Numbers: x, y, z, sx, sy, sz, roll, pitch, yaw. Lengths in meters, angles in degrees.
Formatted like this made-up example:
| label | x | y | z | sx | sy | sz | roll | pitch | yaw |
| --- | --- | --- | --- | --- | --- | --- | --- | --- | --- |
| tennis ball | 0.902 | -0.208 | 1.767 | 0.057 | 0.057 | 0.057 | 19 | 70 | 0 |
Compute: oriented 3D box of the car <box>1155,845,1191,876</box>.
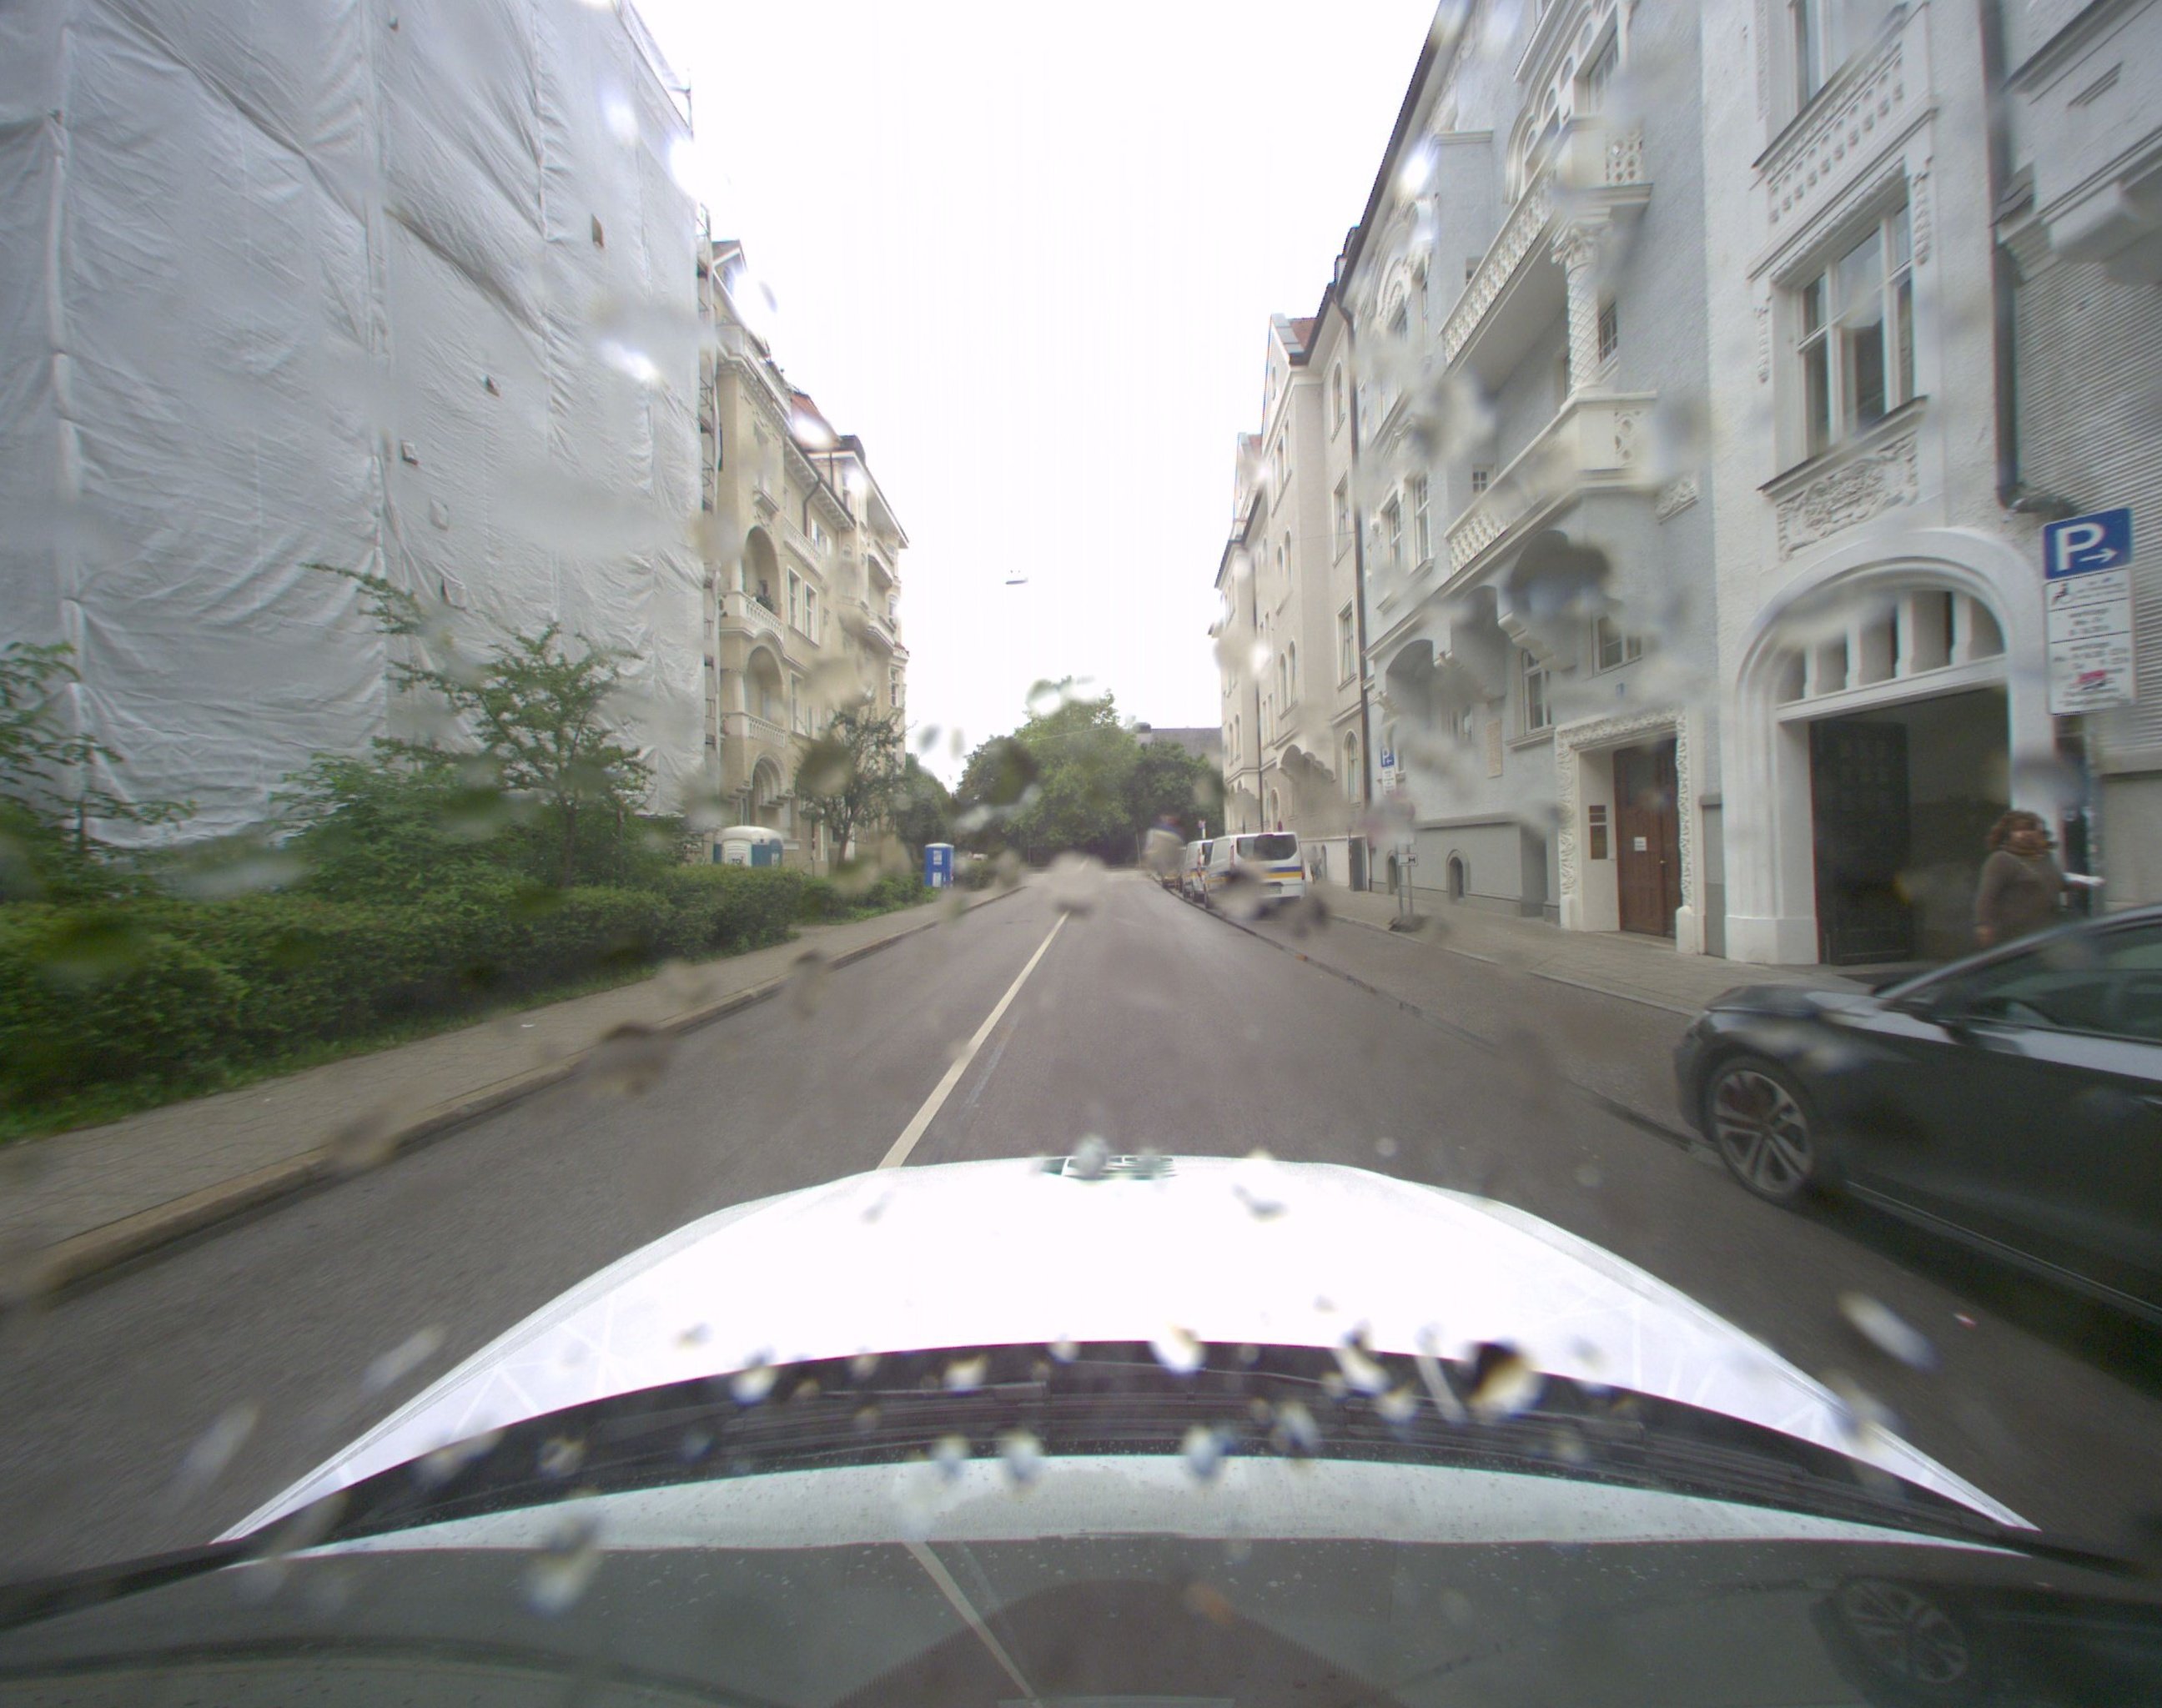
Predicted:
| label | x | y | z | sx | sy | sz | roll | pitch | yaw |
| --- | --- | --- | --- | --- | --- | --- | --- | --- | --- |
| car | 6.362 | 0.402 | 56.813 | 1.909 | 1.962 | 4.928 | -3 | 0 | 1 |

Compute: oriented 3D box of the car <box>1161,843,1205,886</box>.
| label | x | y | z | sx | sy | sz | roll | pitch | yaw |
| --- | --- | --- | --- | --- | --- | --- | --- | --- | --- |
| car | 4.761 | 0.474 | 38.623 | 1.841 | 1.853 | 4.827 | -2 | 0 | 5 |

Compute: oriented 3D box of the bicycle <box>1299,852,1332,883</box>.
| label | x | y | z | sx | sy | sz | roll | pitch | yaw |
| --- | --- | --- | --- | --- | --- | --- | --- | --- | --- |
| bicycle | 8.892 | 0.491 | 30.962 | 0.691 | 1.093 | 2.038 | -4 | 0 | 3 |

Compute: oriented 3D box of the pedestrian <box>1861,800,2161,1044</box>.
| label | x | y | z | sx | sy | sz | roll | pitch | yaw |
| --- | --- | --- | --- | --- | --- | --- | --- | --- | --- |
| pedestrian | 6.699 | 0.464 | 5.935 | 0.917 | 1.555 | 1.017 | -4 | -2 | 1 |

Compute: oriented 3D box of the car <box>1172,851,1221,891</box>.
| label | x | y | z | sx | sy | sz | roll | pitch | yaw |
| --- | --- | --- | --- | --- | --- | --- | --- | --- | --- |
| car | 4.686 | 0.651 | 33.524 | 1.625 | 1.484 | 3.787 | -2 | 0 | 3 |

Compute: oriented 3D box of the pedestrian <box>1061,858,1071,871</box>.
| label | x | y | z | sx | sy | sz | roll | pitch | yaw |
| --- | --- | --- | --- | --- | --- | --- | --- | --- | --- |
| pedestrian | -1.489 | 1.002 | 79.892 | 0.807 | 1.189 | 0.921 | -2 | 0 | 8 |

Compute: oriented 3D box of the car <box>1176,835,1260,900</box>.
| label | x | y | z | sx | sy | sz | roll | pitch | yaw |
| --- | --- | --- | --- | --- | --- | --- | --- | --- | --- |
| car | 4.476 | 0.416 | 27.446 | 1.953 | 1.937 | 4.993 | -2 | 0 | 0 |

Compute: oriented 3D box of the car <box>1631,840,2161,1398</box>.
| label | x | y | z | sx | sy | sz | roll | pitch | yaw |
| --- | --- | --- | --- | --- | --- | --- | --- | --- | --- |
| car | 3.712 | 0.690 | 2.162 | 1.747 | 1.434 | 4.087 | -2 | 0 | 1 |

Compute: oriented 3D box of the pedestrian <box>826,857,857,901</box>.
| label | x | y | z | sx | sy | sz | roll | pitch | yaw |
| --- | --- | --- | --- | --- | --- | --- | --- | --- | --- |
| pedestrian | -9.896 | 1.036 | 33.723 | 0.910 | 1.751 | 0.948 | -2 | 0 | 1 |

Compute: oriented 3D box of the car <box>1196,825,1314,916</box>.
| label | x | y | z | sx | sy | sz | roll | pitch | yaw |
| --- | --- | --- | --- | --- | --- | --- | --- | --- | --- |
| car | 4.371 | 0.389 | 21.299 | 1.953 | 2.013 | 4.993 | -2 | 0 | 0 |

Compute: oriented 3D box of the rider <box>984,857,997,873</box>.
| label | x | y | z | sx | sy | sz | roll | pitch | yaw |
| --- | --- | --- | --- | --- | --- | --- | --- | --- | --- |
| rider | -10.344 | 1.239 | 93.142 | 1.075 | 1.667 | 1.142 | -5 | 0 | 10 |

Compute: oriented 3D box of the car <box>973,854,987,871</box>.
| label | x | y | z | sx | sy | sz | roll | pitch | yaw |
| --- | --- | --- | --- | --- | --- | --- | --- | --- | --- |
| car | -15.596 | 1.337 | 125.443 | 2.040 | 2.558 | 5.234 | -2 | 0 | -8 |
